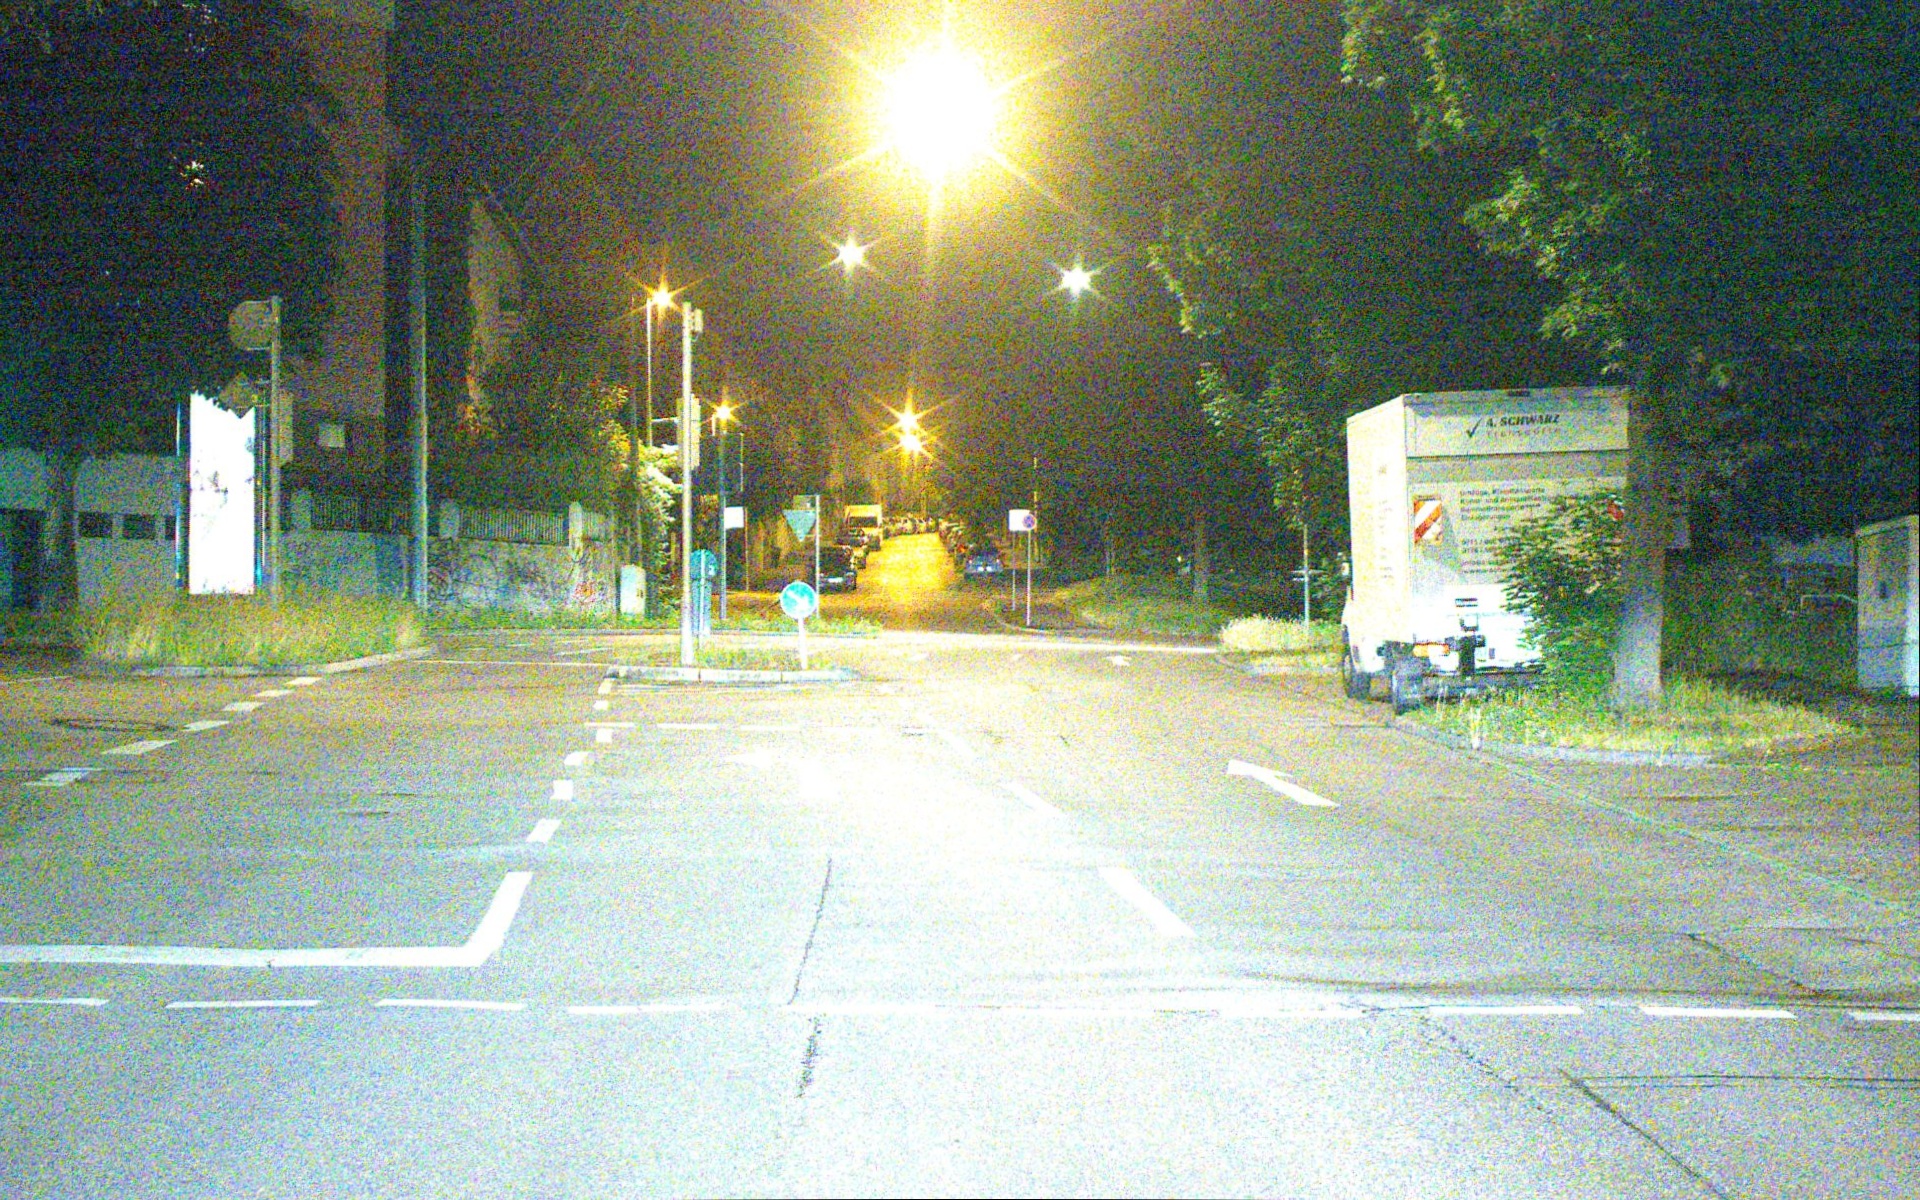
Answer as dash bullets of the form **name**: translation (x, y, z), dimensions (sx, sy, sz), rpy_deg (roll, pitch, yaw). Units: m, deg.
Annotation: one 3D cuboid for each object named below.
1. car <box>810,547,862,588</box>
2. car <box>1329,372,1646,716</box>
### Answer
- **car**: translation (-4.839, -1.288, 134.433), dimensions (1.908, 1.552, 3.904), rpy_deg (1, 1, -1)
- **car**: translation (5.119, -0.545, 34.244), dimensions (2.297, 3.082, 5.840), rpy_deg (-1, 1, 1)
